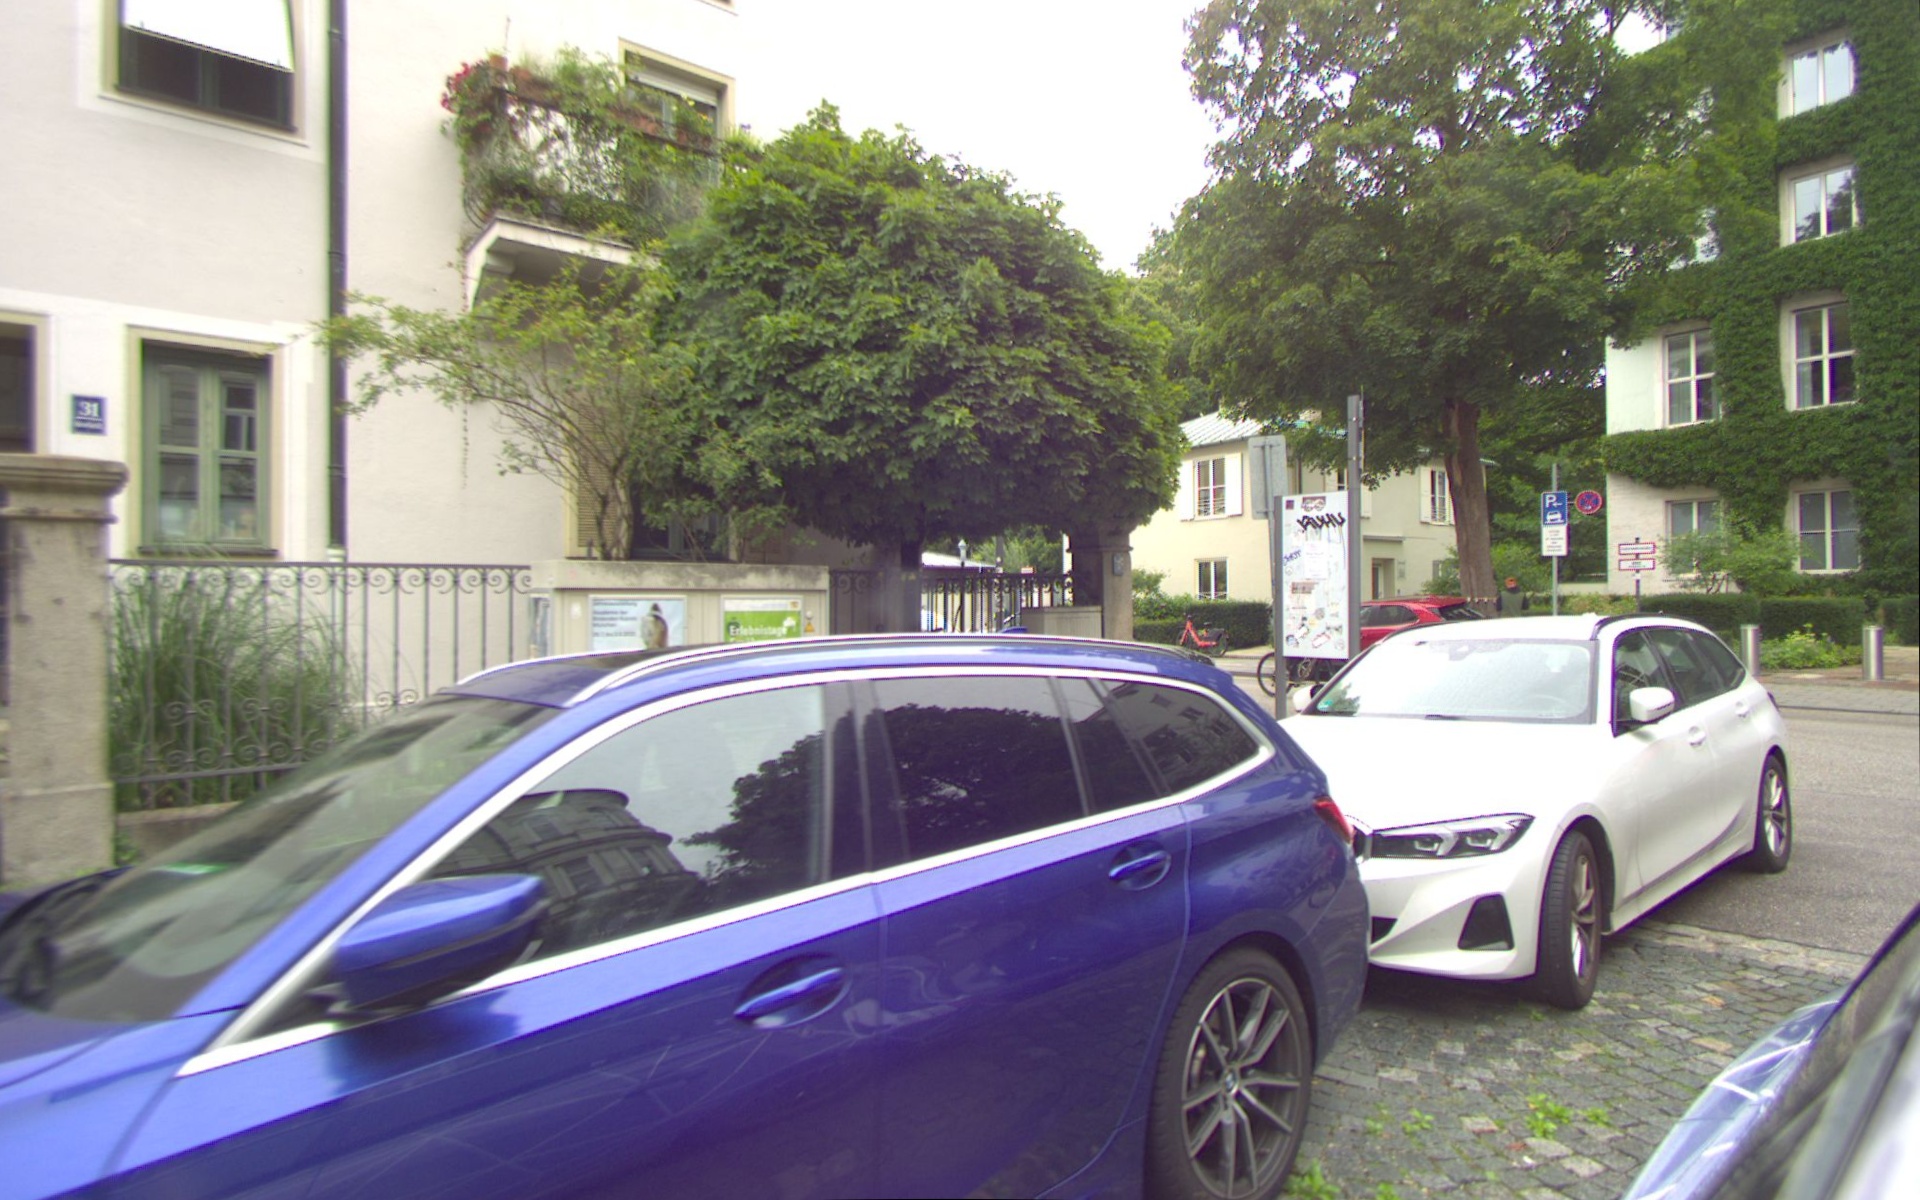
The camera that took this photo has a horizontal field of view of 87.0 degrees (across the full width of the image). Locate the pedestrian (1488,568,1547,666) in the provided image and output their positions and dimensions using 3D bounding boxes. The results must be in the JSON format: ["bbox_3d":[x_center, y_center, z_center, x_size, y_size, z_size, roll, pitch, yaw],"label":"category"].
[{"bbox_3d":[10.992,0.324,19.967,0.702,1.875,0.796,-2,1,-38],"label":"pedestrian"}]

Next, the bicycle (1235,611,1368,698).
[{"bbox_3d":[5.192,0.806,15.477,0.708,1.221,1.799,-2,0,-39],"label":"bicycle"}]

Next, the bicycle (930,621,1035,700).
[{"bbox_3d":[0.301,0.871,15.245,0.652,1.077,1.940,1,-1,-31],"label":"bicycle"}]

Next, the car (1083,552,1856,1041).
[{"bbox_3d":[3.062,0.670,5.514,4.833,1.551,1.910,0,-3,-39],"label":"car"}]

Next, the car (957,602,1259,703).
[{"bbox_3d":[2.160,0.745,15.913,1.970,1.336,4.590,3,-2,-39],"label":"car"}]

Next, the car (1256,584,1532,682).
[{"bbox_3d":[8.175,0.556,19.426,1.859,1.610,4.523,-2,1,-39],"label":"car"}]

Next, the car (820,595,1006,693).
[{"bbox_3d":[-1.000,0.770,19.624,1.745,1.564,3.709,-6,3,-36],"label":"car"}]

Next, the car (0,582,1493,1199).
[{"bbox_3d":[-0.825,0.764,2.343,4.789,1.526,1.932,-1,-1,-40],"label":"car"}]

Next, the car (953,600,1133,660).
[{"bbox_3d":[2.099,0.734,27.017,1.782,1.419,4.915,-2,1,-41],"label":"car"}]

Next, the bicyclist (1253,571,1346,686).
[{"bbox_3d":[5.186,0.423,15.481,0.767,1.688,1.033,-2,-1,-39],"label":"bicyclist"}]

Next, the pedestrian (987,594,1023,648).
[{"bbox_3d":[1.345,0.621,30.409,0.704,1.567,0.751,-2,1,-42],"label":"pedestrian"}]

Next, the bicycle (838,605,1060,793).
[{"bbox_3d":[-0.039,0.706,7.966,1.886,1.292,0.467,-1,-1,-42],"label":"bicycle"}]

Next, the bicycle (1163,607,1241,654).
[{"bbox_3d":[6.091,0.739,25.552,0.639,1.145,2.048,0,-1,-32],"label":"bicycle"}]
